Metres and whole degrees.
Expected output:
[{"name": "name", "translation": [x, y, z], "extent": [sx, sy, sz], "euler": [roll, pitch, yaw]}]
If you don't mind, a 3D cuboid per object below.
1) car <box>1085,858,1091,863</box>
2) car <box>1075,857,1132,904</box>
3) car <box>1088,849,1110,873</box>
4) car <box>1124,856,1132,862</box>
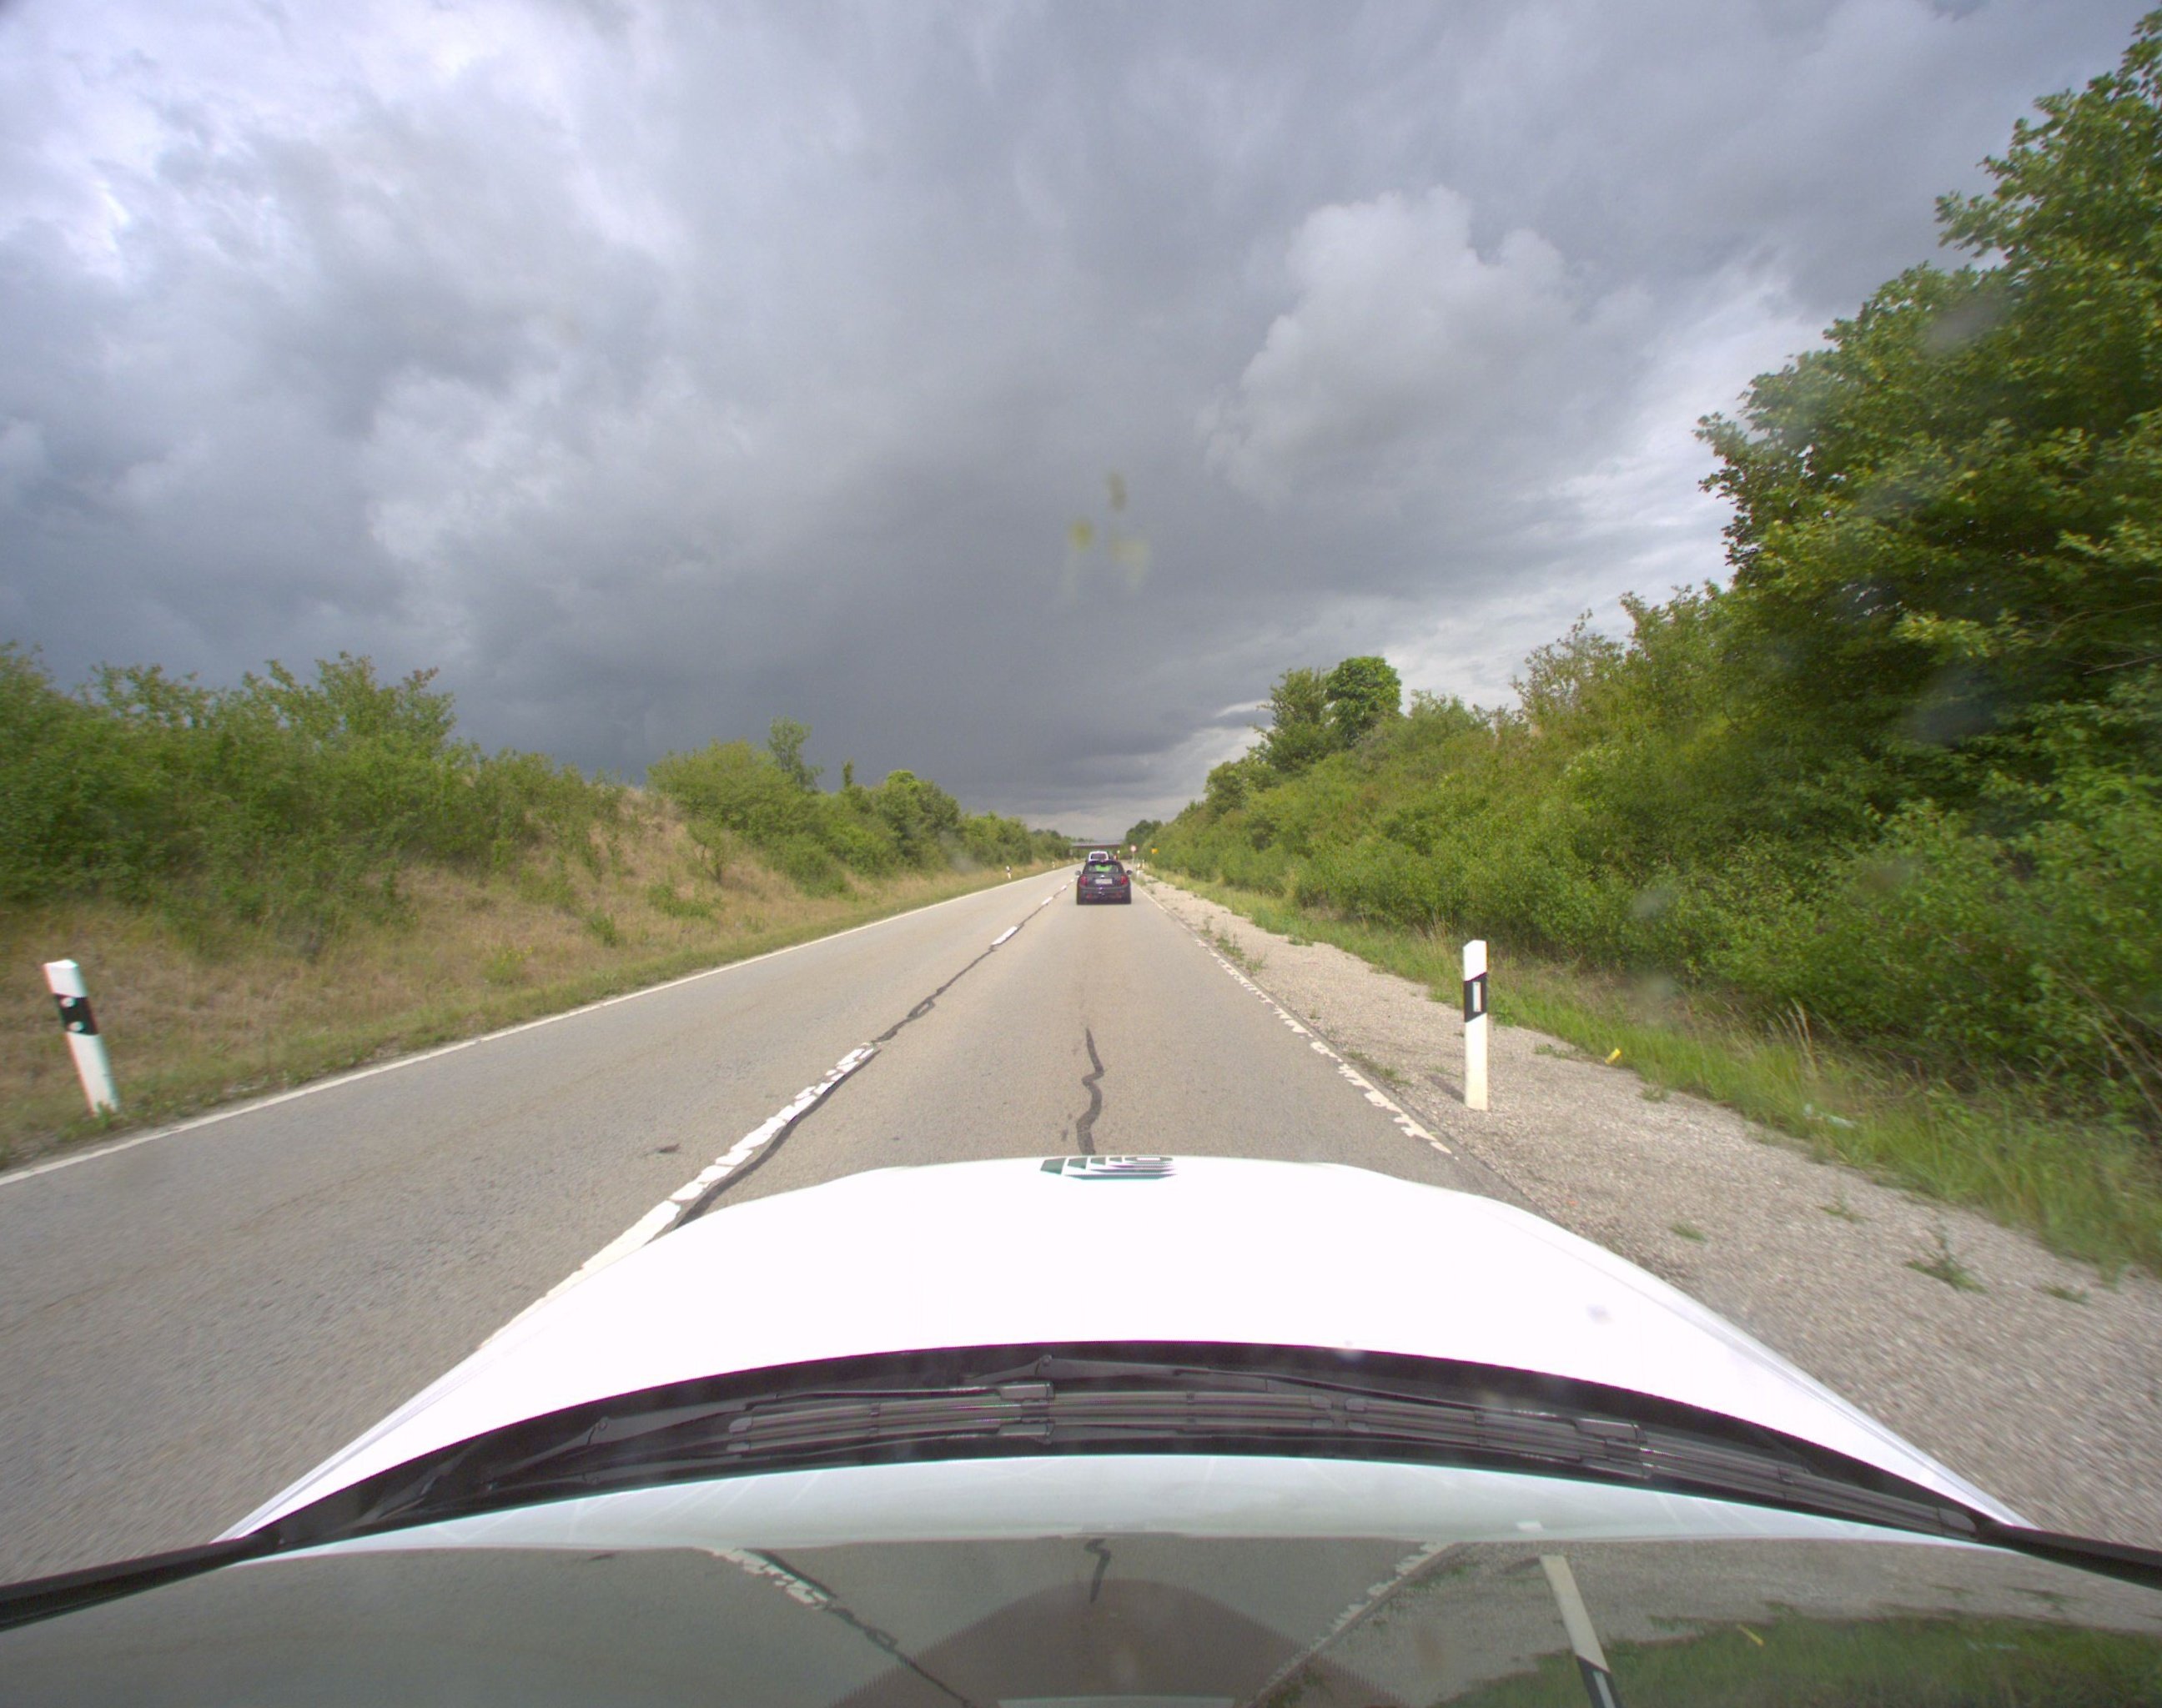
[{"name": "car", "translation": [1.999, 1.675, 226.504], "extent": [1.695, 1.330, 4.000], "euler": [-2, 0, 1]}, {"name": "car", "translation": [0.744, 0.839, 27.133], "extent": [1.750, 1.427, 4.001], "euler": [-1, 0, 1]}, {"name": "car", "translation": [1.611, 0.633, 72.091], "extent": [1.813, 2.054, 4.001], "euler": [-1, 0, 1]}, {"name": "car", "translation": [12.549, 1.271, 217.375], "extent": [1.988, 1.552, 3.998], "euler": [-1, 0, -1]}]
